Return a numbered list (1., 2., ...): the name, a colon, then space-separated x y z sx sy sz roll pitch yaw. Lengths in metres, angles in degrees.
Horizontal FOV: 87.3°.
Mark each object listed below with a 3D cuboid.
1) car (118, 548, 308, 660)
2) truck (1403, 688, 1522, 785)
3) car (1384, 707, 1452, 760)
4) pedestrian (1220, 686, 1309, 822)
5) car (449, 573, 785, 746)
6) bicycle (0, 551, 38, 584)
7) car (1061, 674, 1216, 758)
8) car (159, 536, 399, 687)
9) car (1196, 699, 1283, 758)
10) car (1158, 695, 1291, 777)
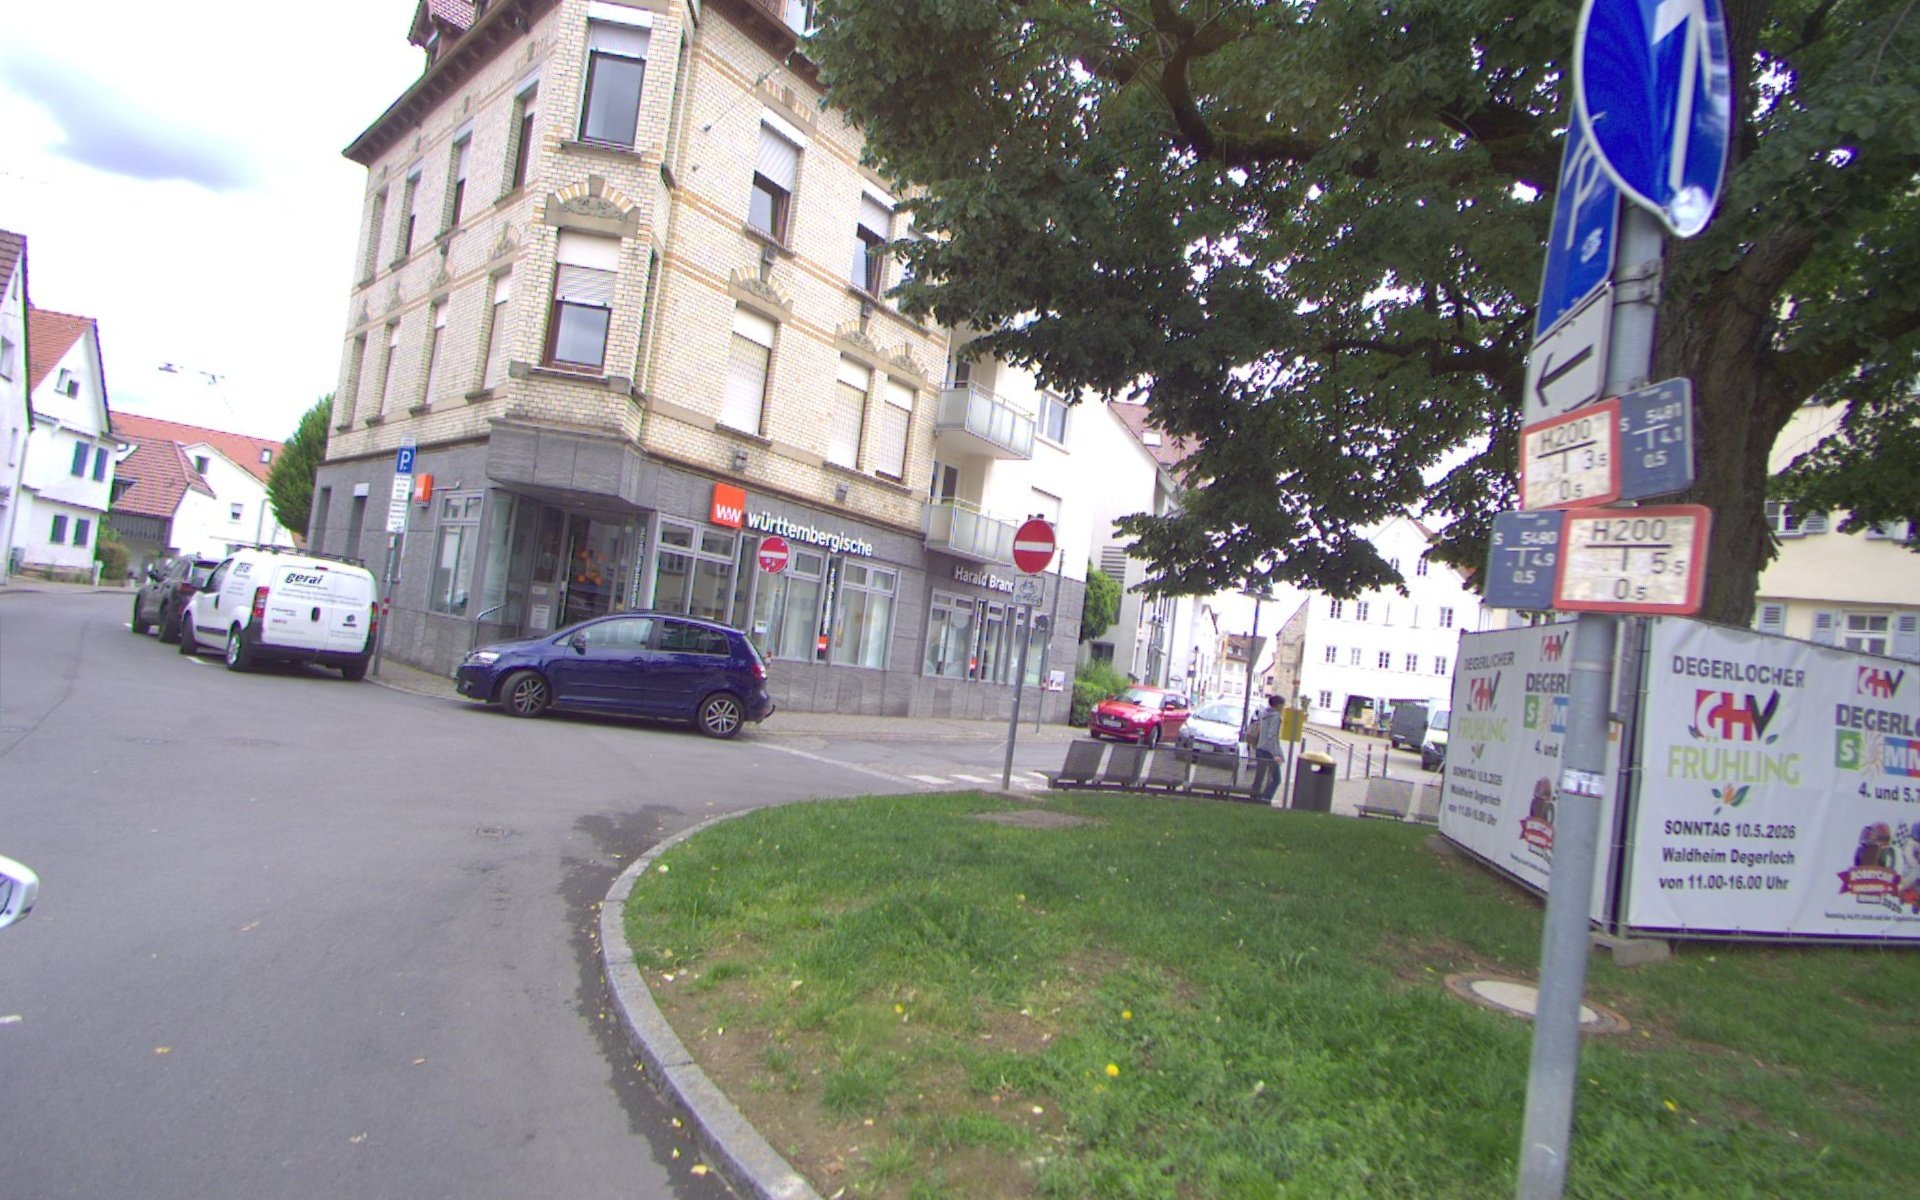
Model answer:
1. car: -14.068 0.029 18.849 4.480 1.617 1.788 4 -6 42
2. truck: 17.581 4.781 35.001 2.798 2.719 5.289 6 -4 35
3. car: 22.844 6.674 50.099 2.045 2.235 3.991 7 -3 37
4. pedestrian: 4.328 2.183 14.287 0.785 1.763 0.709 6 -4 41
5. car: -4.675 0.867 14.005 3.969 1.721 1.857 10 -5 -21
6. bicycle: -33.775 -1.169 35.694 0.437 1.049 2.089 12 -5 -13
7. car: 4.705 3.037 25.980 2.092 1.562 4.378 7 -5 36
8. car: -10.592 0.124 15.546 4.159 1.811 1.826 5 -5 40
9. car: 9.660 4.360 34.524 2.216 1.527 4.527 7 -3 23
10. car: 6.393 3.250 24.032 1.755 1.532 4.003 7 -3 34
